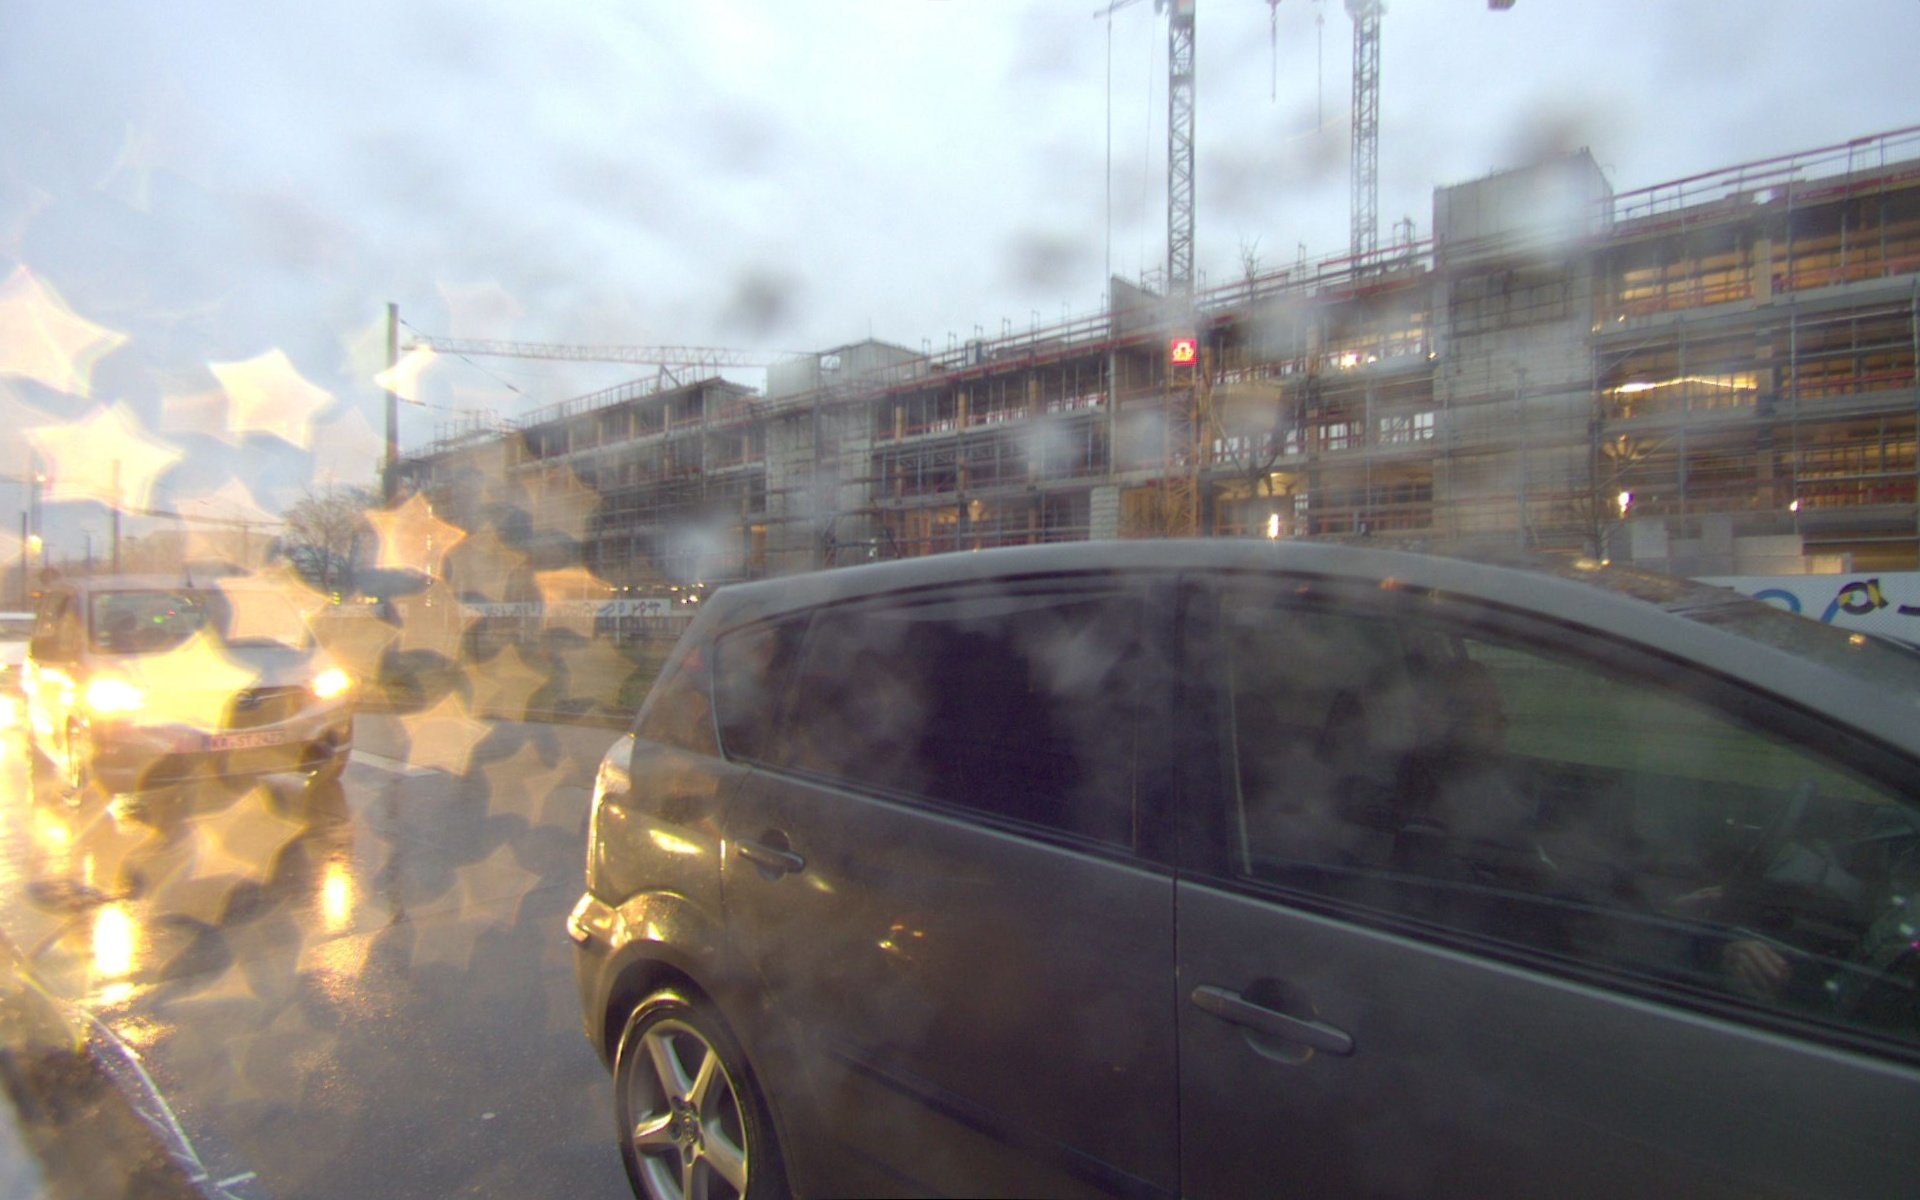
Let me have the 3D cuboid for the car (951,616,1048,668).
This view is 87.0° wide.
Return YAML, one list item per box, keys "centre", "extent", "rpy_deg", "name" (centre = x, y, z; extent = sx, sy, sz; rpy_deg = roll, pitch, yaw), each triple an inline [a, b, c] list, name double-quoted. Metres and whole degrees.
- centre: [1.756, 1.827, 45.391]
  extent: [4.084, 2.139, 1.931]
  rpy_deg: [-1, 0, 43]
  name: "car"

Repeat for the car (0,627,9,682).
- centre: [-29.764, 1.603, 30.039]
  extent: [3.997, 1.568, 1.821]
  rpy_deg: [-1, 0, 40]
  name: "car"

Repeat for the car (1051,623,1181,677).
- centre: [5.380, 1.683, 35.089]
  extent: [4.084, 1.700, 1.931]
  rpy_deg: [-1, 0, 43]
  name: "car"

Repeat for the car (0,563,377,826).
- centre: [-6.782, 0.635, 8.720]
  extent: [3.998, 1.746, 1.834]
  rpy_deg: [-1, 0, 41]
  name: "car"

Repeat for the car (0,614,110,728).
- centre: [-15.799, 1.086, 16.619]
  extent: [4.315, 1.666, 1.823]
  rpy_deg: [-1, 0, 36]
  name: "car"

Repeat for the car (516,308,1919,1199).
- centre: [1.036, 0.549, 1.828]
  extent: [3.996, 1.606, 1.742]
  rpy_deg: [-1, 0, 39]
  name: "car"
